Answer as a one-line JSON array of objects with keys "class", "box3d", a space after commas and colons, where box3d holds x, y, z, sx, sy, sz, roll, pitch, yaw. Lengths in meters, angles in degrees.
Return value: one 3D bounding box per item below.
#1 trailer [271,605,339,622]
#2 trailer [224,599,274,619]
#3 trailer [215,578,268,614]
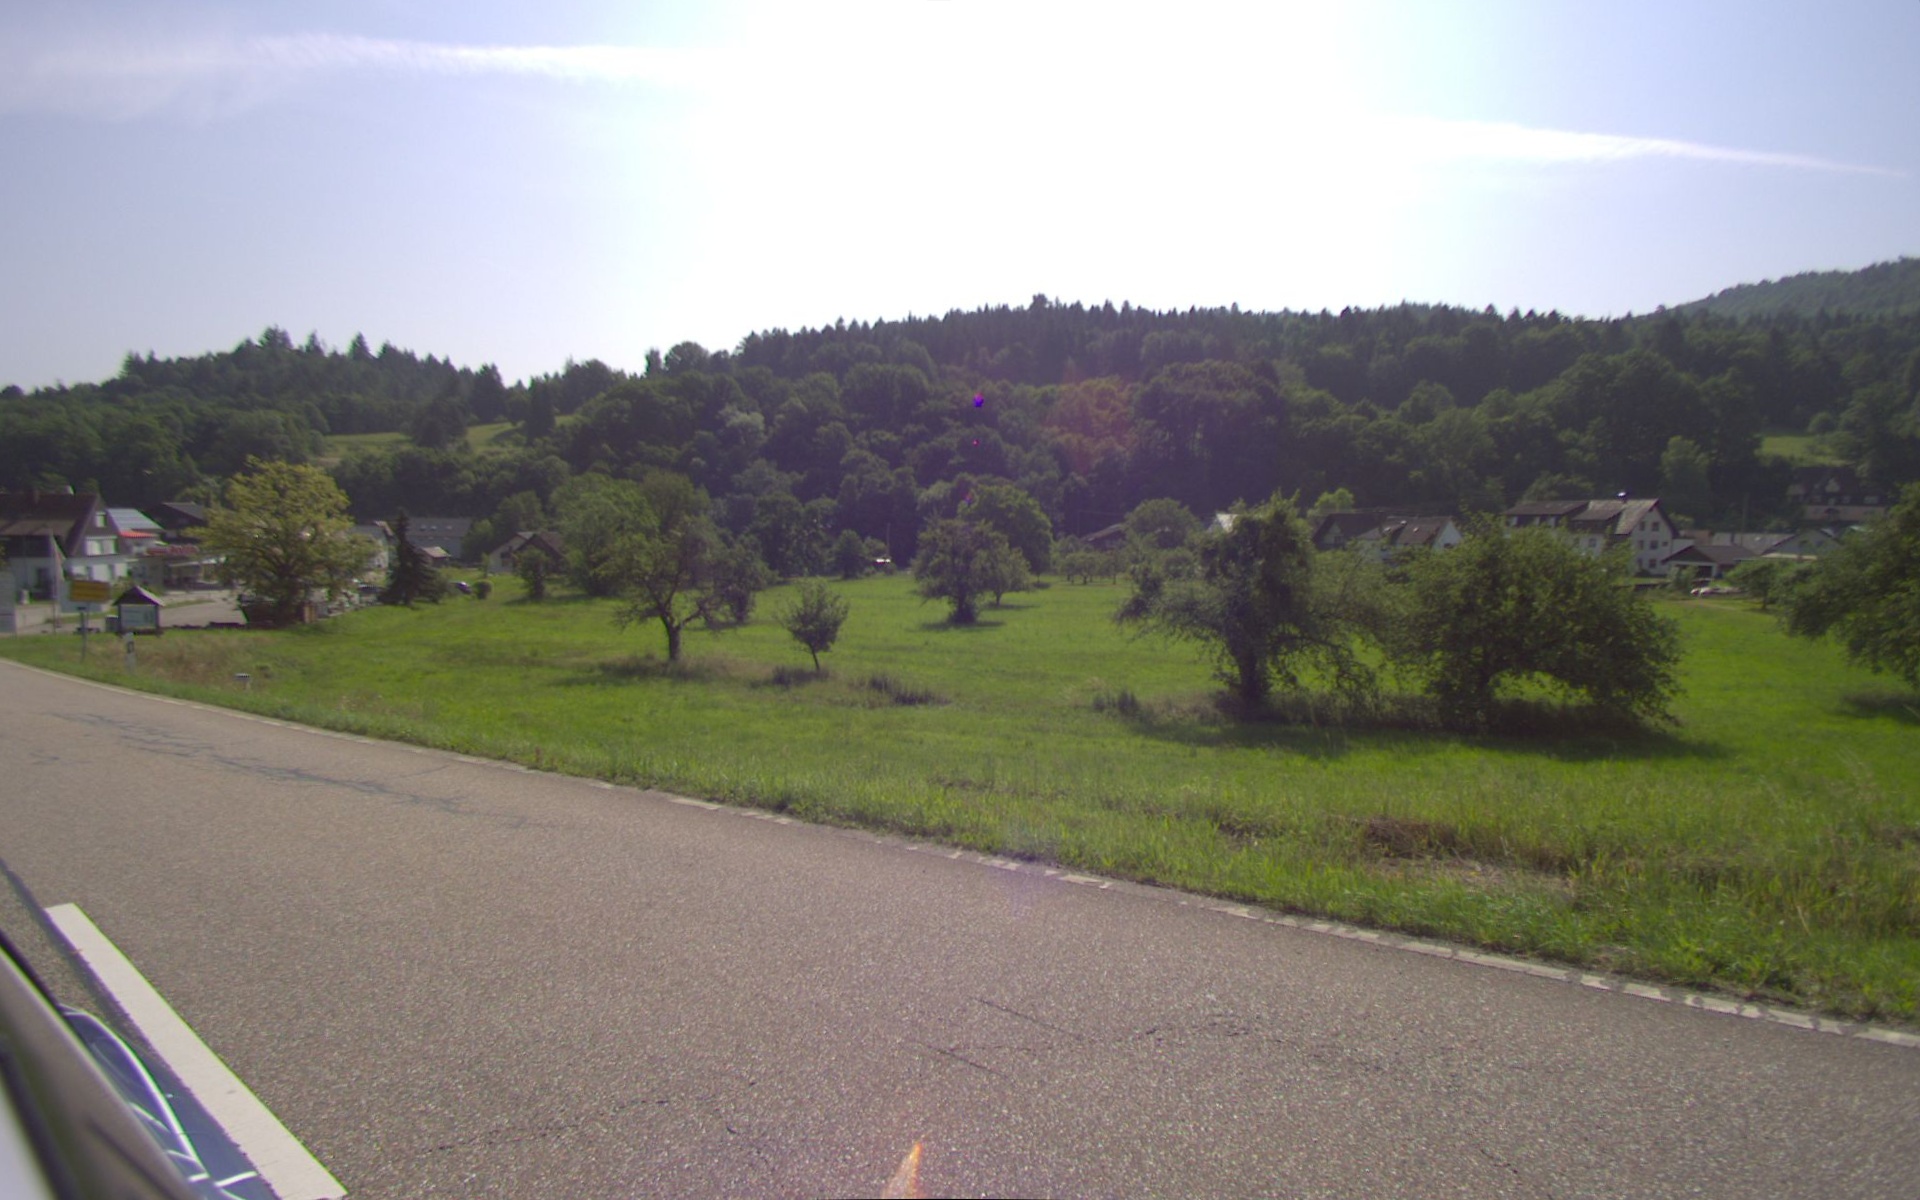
[{"class": "trailer", "box3d": [-48.691, 0.984, 75.290, 3.878, 0.946, 1.874, -2, 5, -17]}, {"class": "trailer", "box3d": [-59.064, 0.754, 84.159, 1.966, 1.235, 5.565, -2, 4, -20]}, {"class": "trailer", "box3d": [-63.171, -0.394, 89.039, 3.344, 2.933, 1.890, -2, 3, -22]}]
